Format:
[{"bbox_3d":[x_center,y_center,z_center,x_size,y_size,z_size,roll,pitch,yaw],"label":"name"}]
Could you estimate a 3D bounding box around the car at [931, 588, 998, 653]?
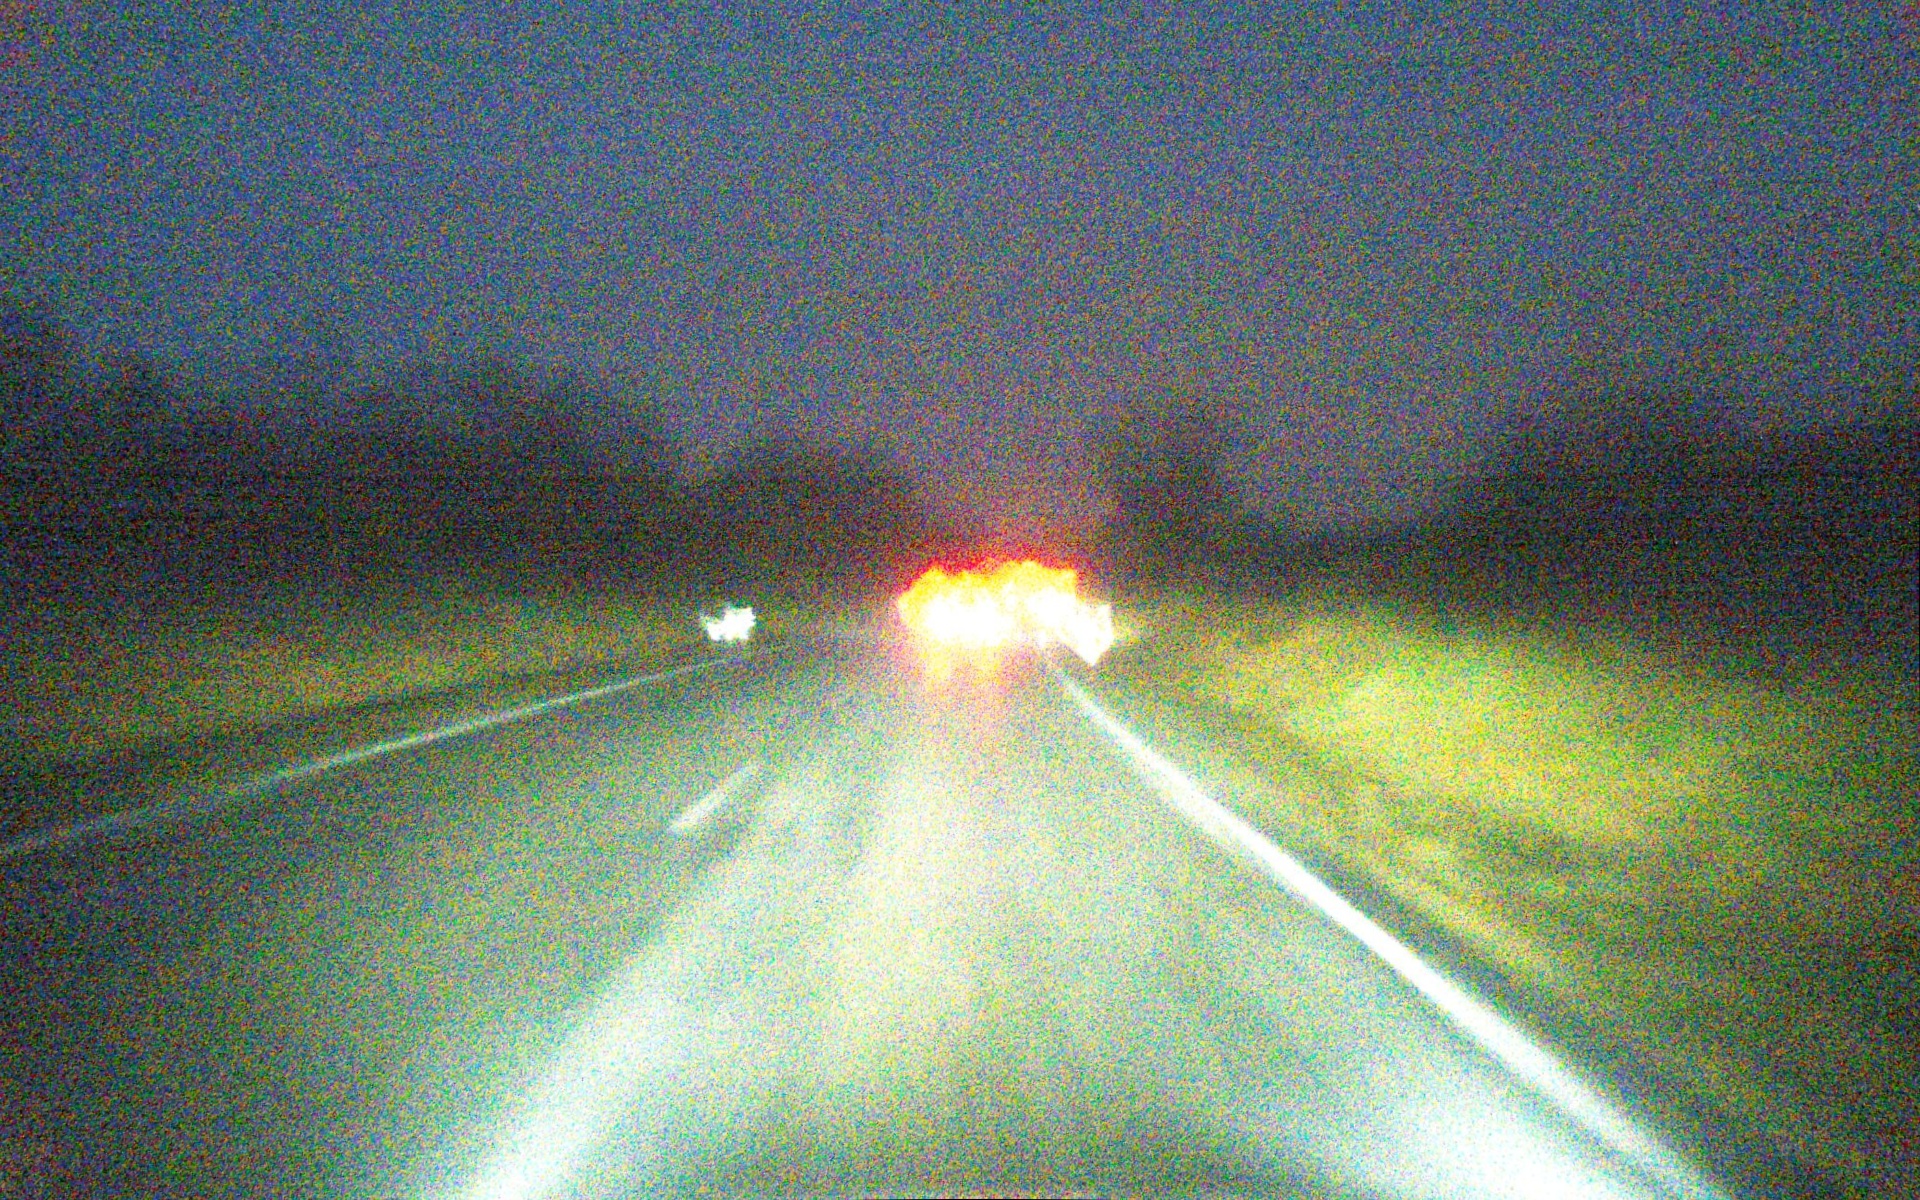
[{"bbox_3d":[0.135,0.552,46.800,1.804,1.771,4.000,0,0,0],"label":"car"}]
